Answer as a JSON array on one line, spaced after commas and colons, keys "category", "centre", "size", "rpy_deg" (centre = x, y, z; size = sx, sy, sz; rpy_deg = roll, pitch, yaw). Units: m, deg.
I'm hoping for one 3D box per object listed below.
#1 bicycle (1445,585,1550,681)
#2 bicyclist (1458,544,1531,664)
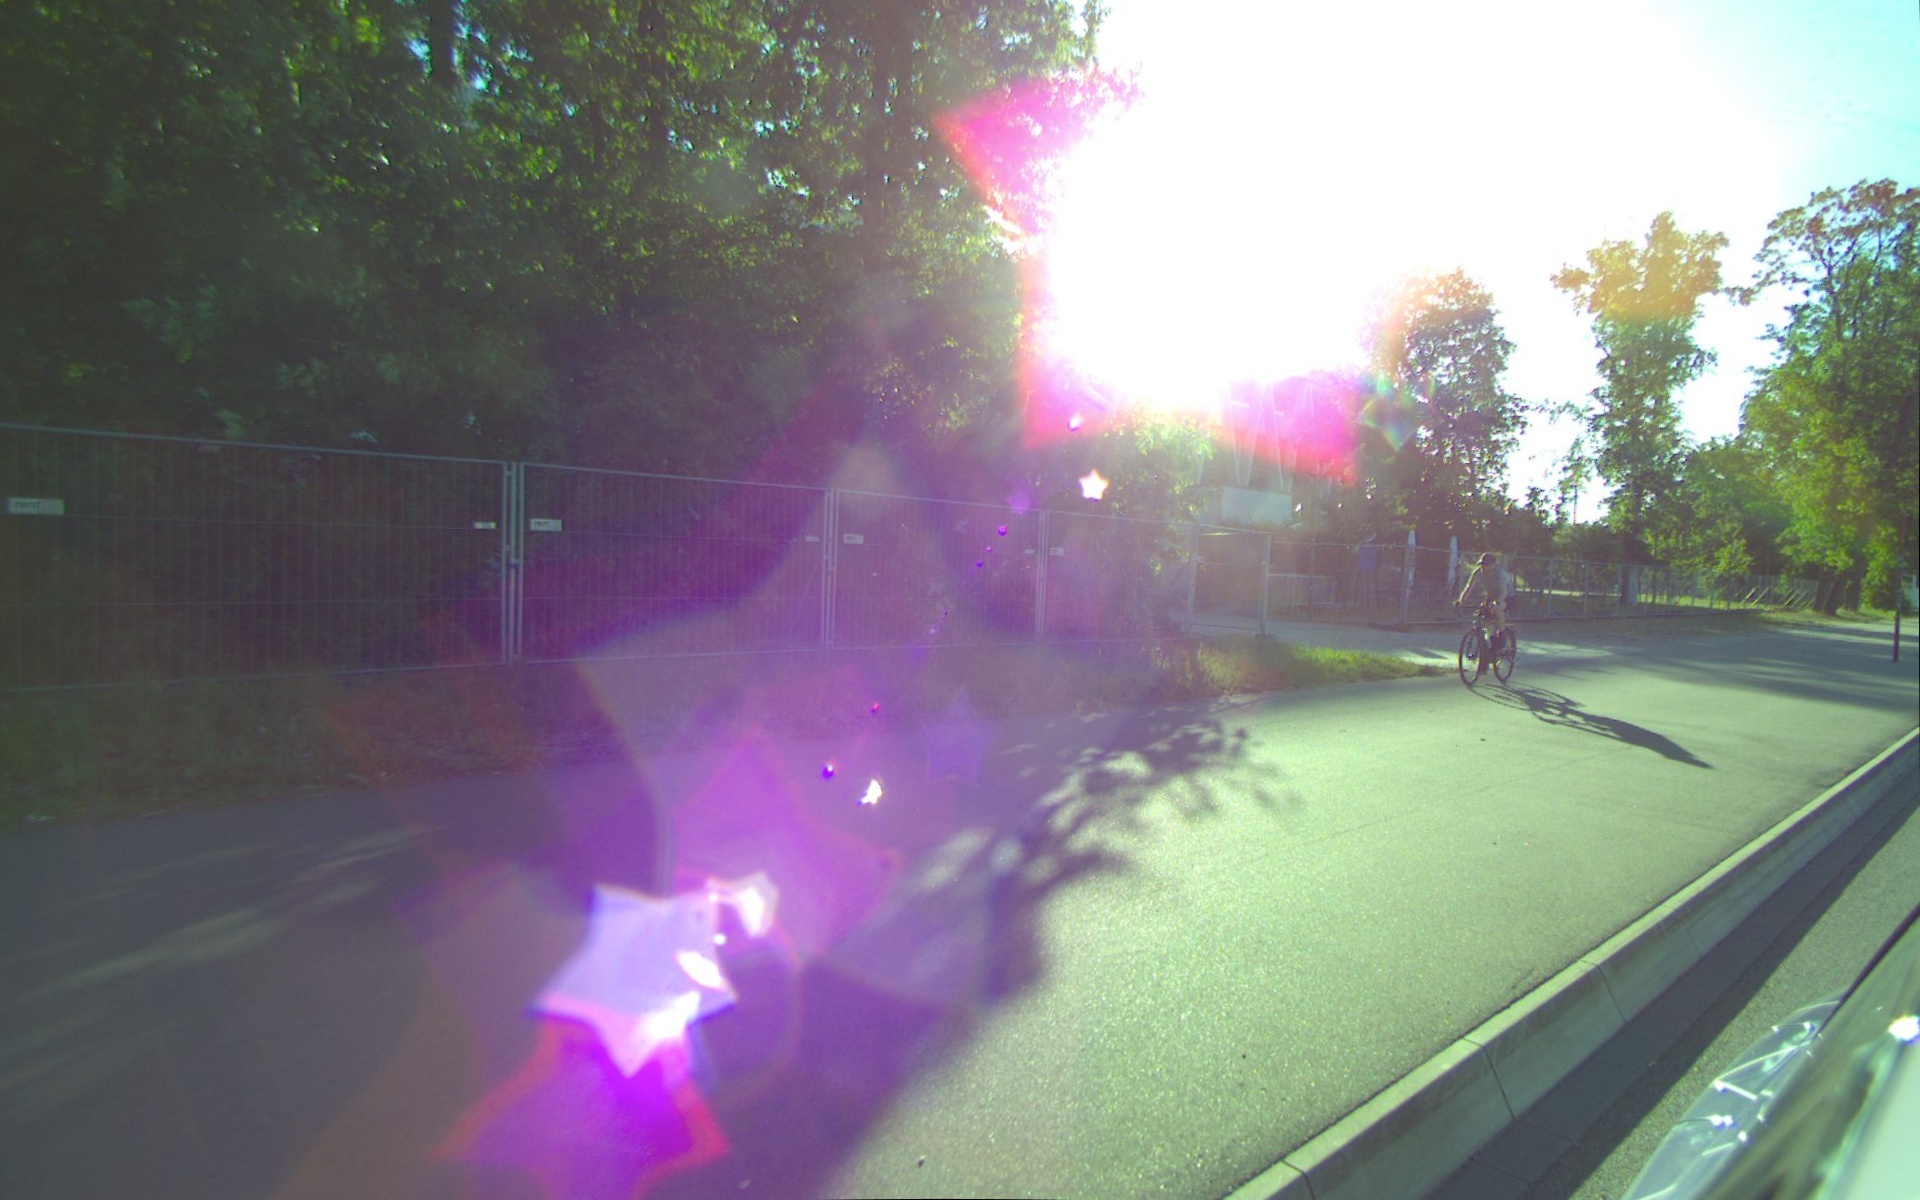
[{"category": "bicycle", "centre": [6.965, 0.385, 13.075], "size": [1.831, 1.151, 0.555], "rpy_deg": [-1, 2, -41]}, {"category": "bicyclist", "centre": [6.839, 0.035, 12.946], "size": [0.846, 1.487, 0.521], "rpy_deg": [0, 2, -41]}]
